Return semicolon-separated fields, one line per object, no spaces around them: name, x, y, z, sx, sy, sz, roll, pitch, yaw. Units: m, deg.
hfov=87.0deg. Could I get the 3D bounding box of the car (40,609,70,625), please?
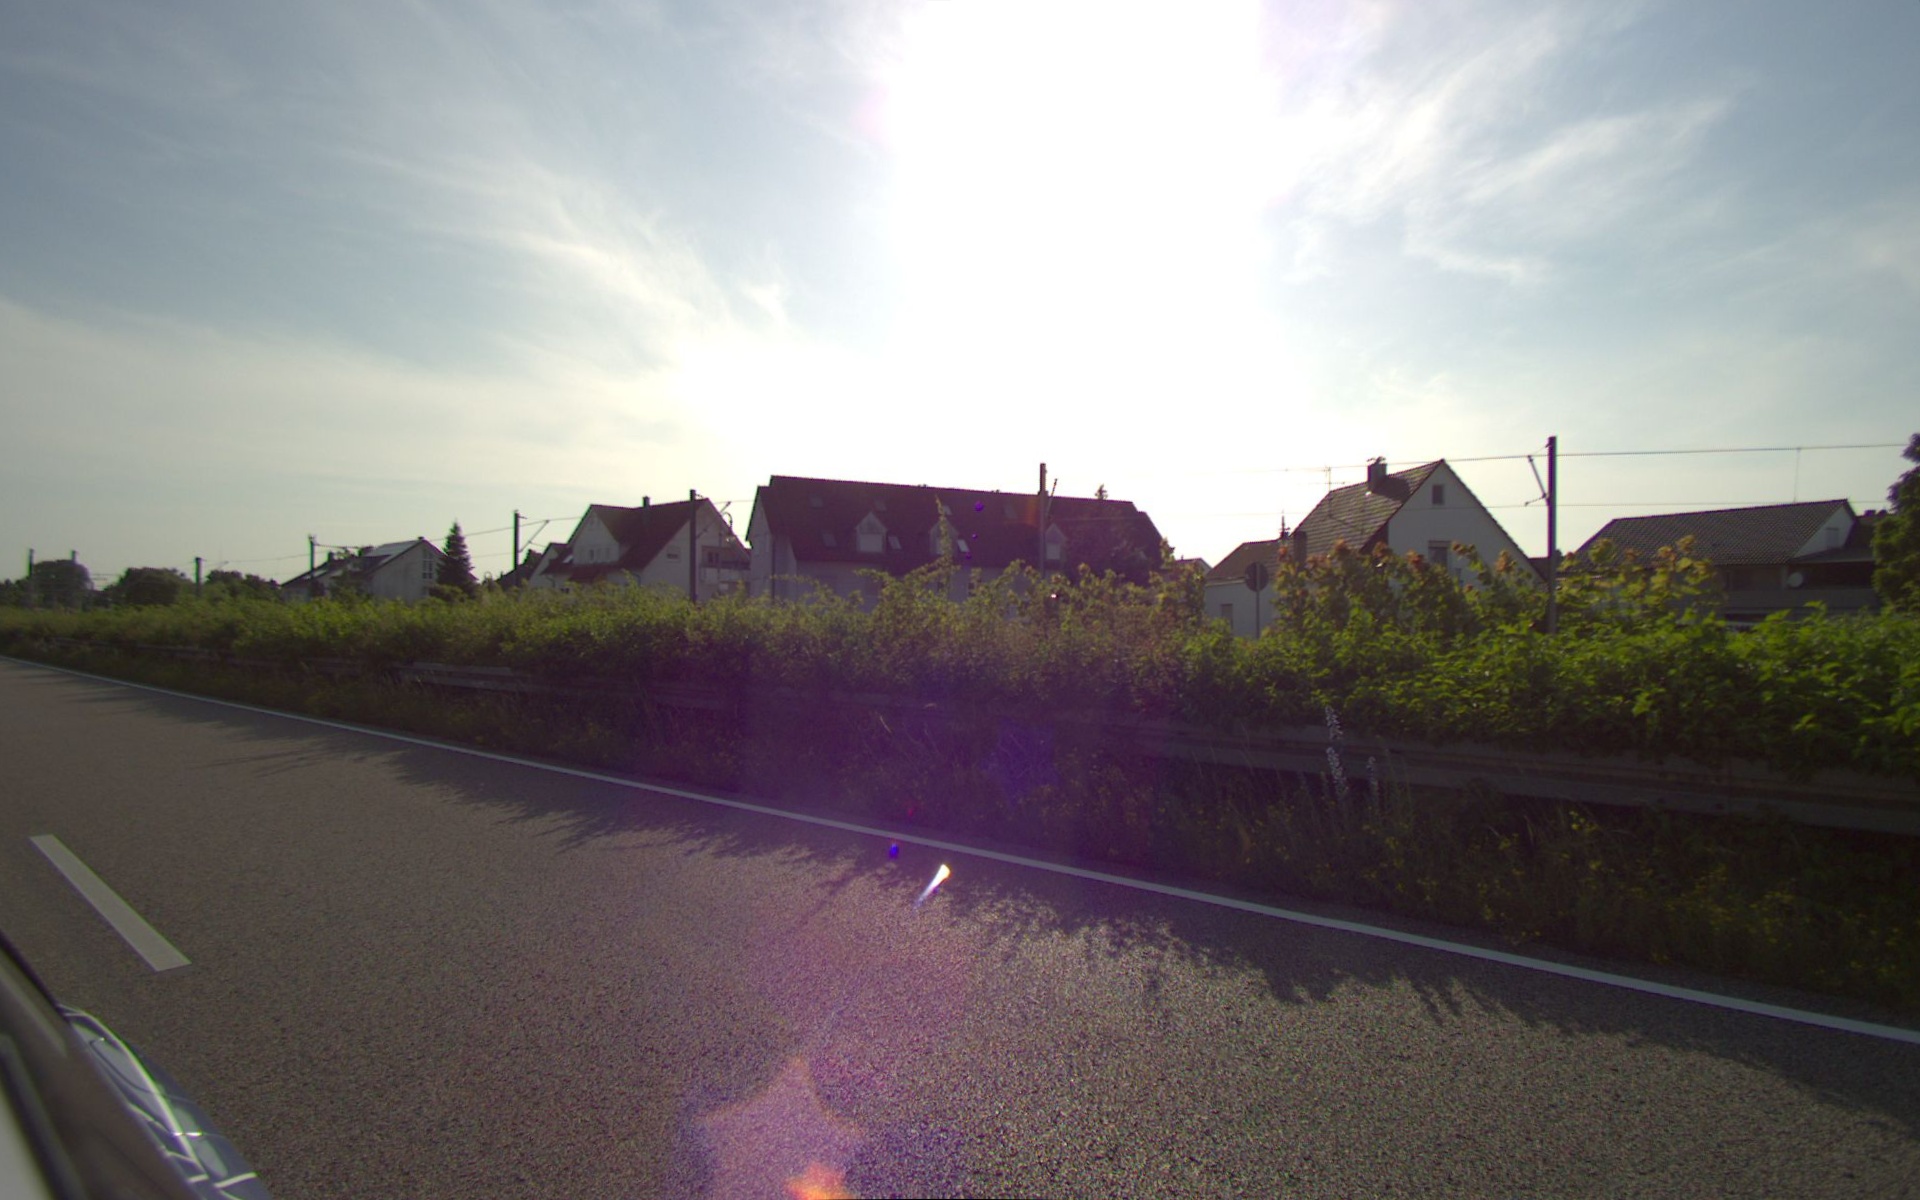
car;-102.091;1.924;114.140;3.998;1.763;1.973;-1;0;41
